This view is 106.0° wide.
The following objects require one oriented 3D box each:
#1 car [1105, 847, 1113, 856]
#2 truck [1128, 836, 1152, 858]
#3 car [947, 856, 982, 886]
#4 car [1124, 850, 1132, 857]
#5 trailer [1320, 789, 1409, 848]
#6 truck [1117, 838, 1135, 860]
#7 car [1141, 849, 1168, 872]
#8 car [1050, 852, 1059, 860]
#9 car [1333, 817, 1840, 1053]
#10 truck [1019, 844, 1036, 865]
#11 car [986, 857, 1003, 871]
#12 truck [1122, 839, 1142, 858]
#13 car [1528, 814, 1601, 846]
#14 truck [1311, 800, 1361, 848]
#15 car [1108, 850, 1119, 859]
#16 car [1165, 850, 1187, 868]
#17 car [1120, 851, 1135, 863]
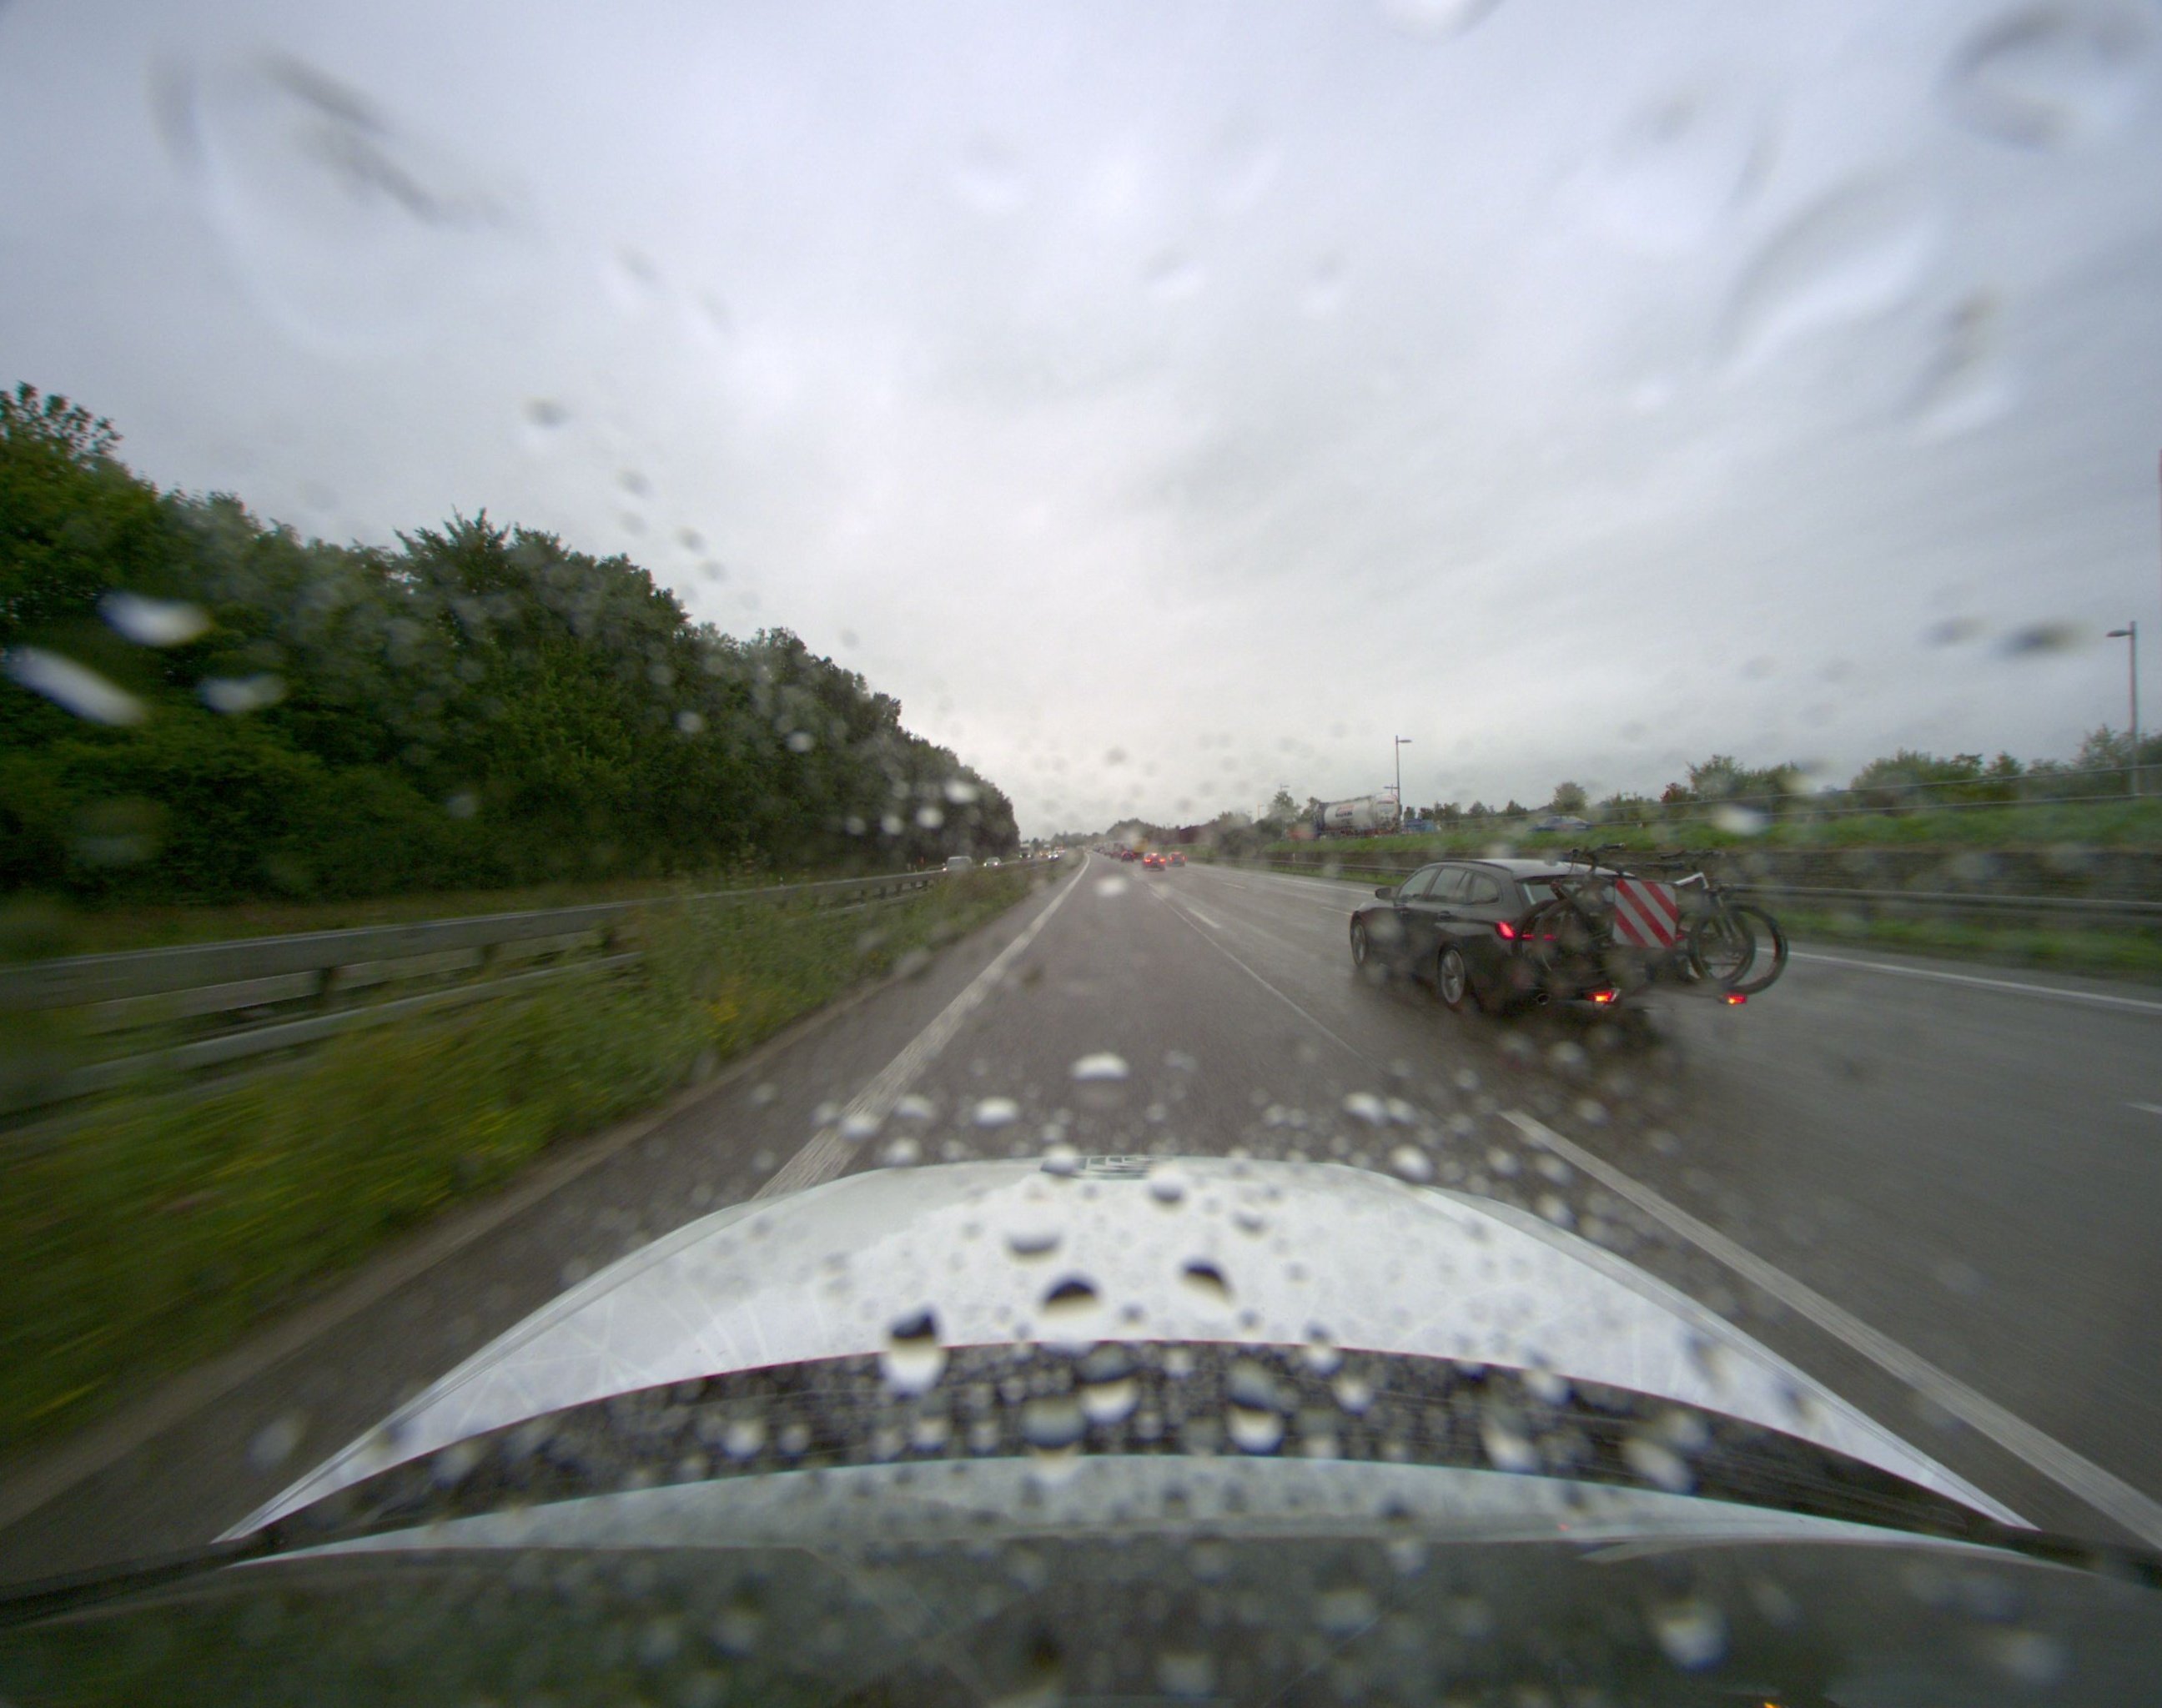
[{"bbox_3d":[7.439,-0.609,215.800,1.986,2.205,4.001,-2,0,1],"label":"car"},{"bbox_3d":[11.235,-1.321,156.331,3.910,3.981,12.243,-2,0,2],"label":"truck"},{"bbox_3d":[-7.610,1.087,53.567,1.598,1.884,3.573,-2,0,2],"label":"car"},{"bbox_3d":[11.666,-0.160,202.434,1.986,1.628,4.001,-2,0,1],"label":"car"},{"bbox_3d":[22.903,-2.683,66.822,2.974,4.156,12.960,-2,0,2],"label":"trailer"},{"bbox_3d":[11.906,-1.363,218.007,4.271,5.568,12.243,-2,0,2],"label":"truck"},{"bbox_3d":[6.111,0.529,67.995,1.986,1.761,4.001,-2,0,1],"label":"car"},{"bbox_3d":[-5.556,0.461,171.084,1.598,1.583,3.573,-2,0,2],"label":"car"},{"bbox_3d":[4.463,0.607,8.590,2.050,1.671,5.524,0,-1,2],"label":"car"},{"bbox_3d":[-13.128,0.220,200.125,2.980,4.936,9.486,-2,0,2],"label":"truck"},{"bbox_3d":[-10.618,1.217,100.211,1.598,1.552,3.573,-2,0,2],"label":"car"},{"bbox_3d":[11.781,-1.267,189.097,3.910,3.981,12.243,-2,0,2],"label":"truck"},{"bbox_3d":[27.015,-1.299,45.661,1.781,1.624,4.001,-2,0,2],"label":"car"},{"bbox_3d":[23.121,-2.663,74.050,2.938,4.145,4.924,-2,0,2],"label":"truck"},{"bbox_3d":[6.281,0.009,156.836,1.986,1.628,4.001,-2,0,1],"label":"car"},{"bbox_3d":[10.041,0.536,86.311,1.986,1.761,4.001,-2,0,1],"label":"car"},{"bbox_3d":[6.737,0.443,118.751,1.986,1.628,4.001,-2,0,1],"label":"car"}]
